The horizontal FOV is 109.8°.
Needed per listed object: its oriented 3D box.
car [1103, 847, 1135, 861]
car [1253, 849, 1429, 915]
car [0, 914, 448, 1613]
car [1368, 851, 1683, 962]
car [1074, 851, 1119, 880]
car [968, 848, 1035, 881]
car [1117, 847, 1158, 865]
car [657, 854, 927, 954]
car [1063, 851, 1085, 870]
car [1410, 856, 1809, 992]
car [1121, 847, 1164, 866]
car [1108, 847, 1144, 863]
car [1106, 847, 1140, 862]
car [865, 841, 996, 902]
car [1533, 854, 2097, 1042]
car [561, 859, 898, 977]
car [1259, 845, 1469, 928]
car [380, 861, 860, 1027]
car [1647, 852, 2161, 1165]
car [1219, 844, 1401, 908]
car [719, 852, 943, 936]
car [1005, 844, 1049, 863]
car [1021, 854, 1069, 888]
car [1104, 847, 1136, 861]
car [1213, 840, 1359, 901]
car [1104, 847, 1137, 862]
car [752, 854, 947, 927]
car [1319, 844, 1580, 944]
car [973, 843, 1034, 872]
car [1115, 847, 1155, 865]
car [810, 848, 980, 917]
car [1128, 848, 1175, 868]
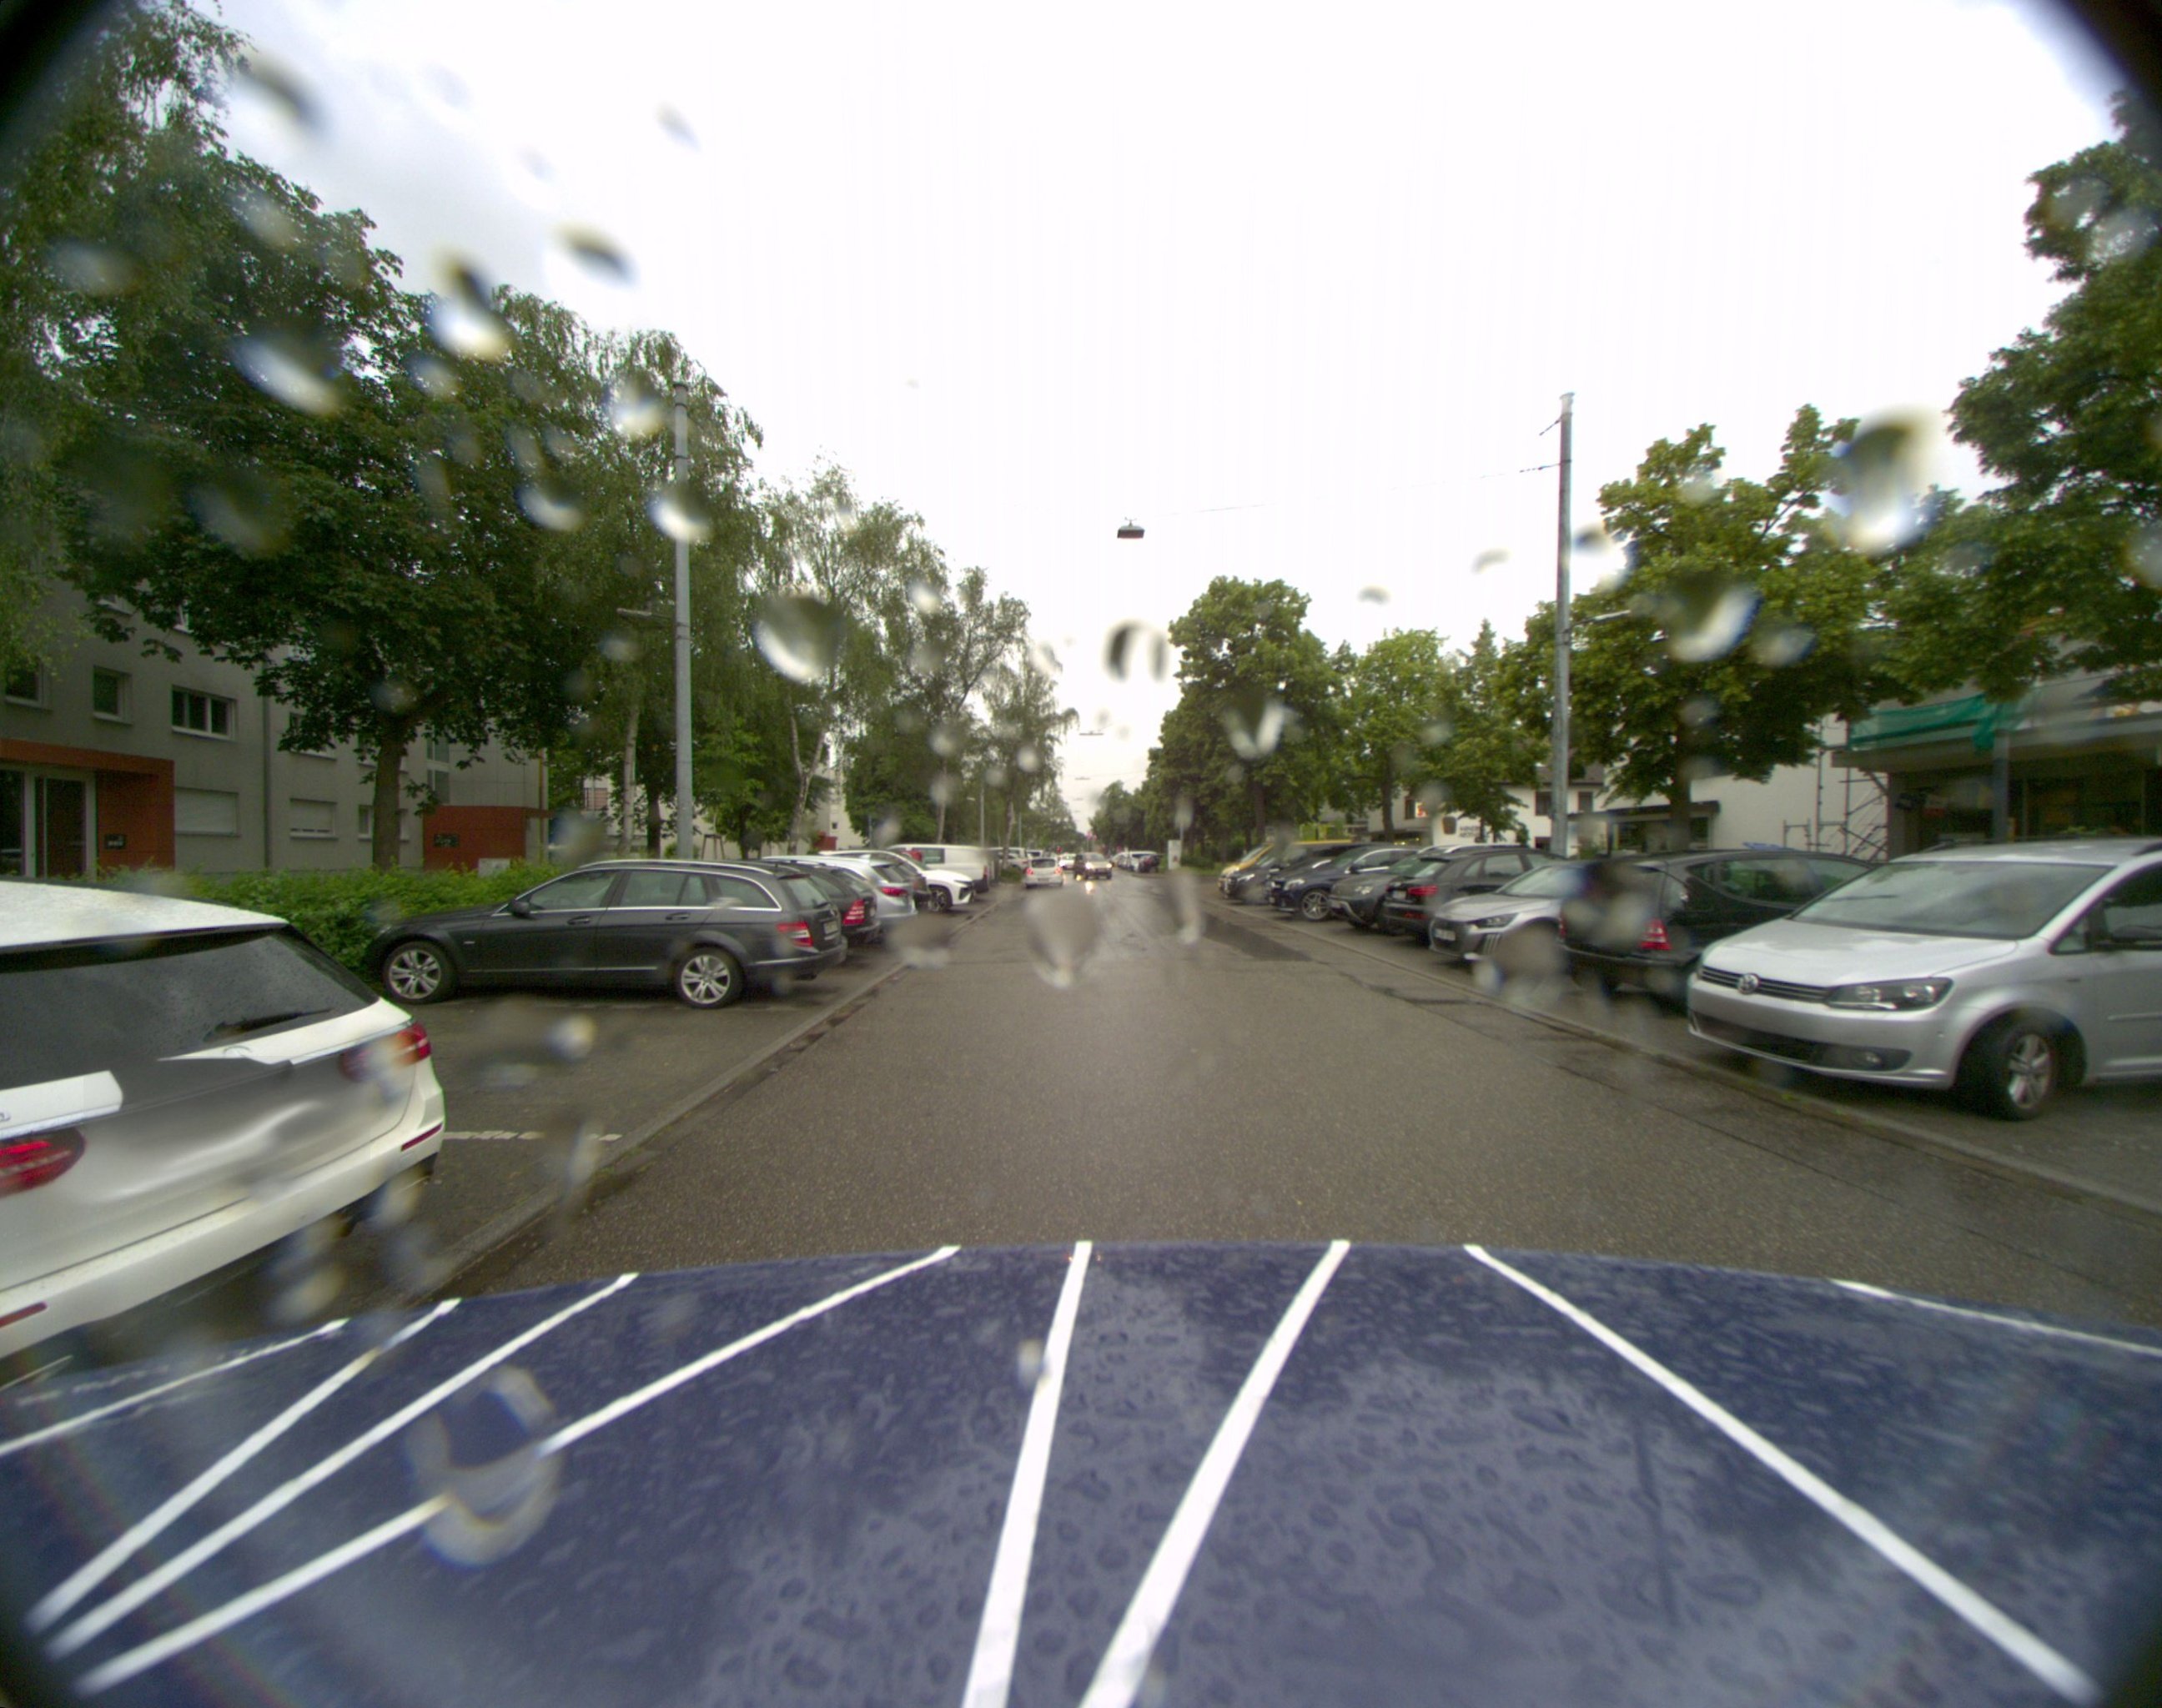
[{"bbox_3d":[4.954,0.022,99.179,3.998,1.675,1.999,-2,1,-3],"label":"car"},{"bbox_3d":[7.130,0.736,21.095,4.283,1.617,1.715,-2,1,-2],"label":"car"},{"bbox_3d":[-4.749,0.930,2.065,4.623,1.431,1.680,2,1,0],"label":"car"},{"bbox_3d":[7.265,0.811,12.685,4.283,1.586,1.715,-2,1,-2],"label":"car"},{"bbox_3d":[0.929,0.670,47.445,1.841,1.677,3.995,-2,1,-13],"label":"car"},{"bbox_3d":[-5.119,0.669,49.316,3.995,1.902,1.902,-2,1,4],"label":"car"},{"bbox_3d":[5.839,0.235,78.576,3.998,1.675,1.999,-2,1,-3],"label":"car"},{"bbox_3d":[-4.881,0.819,13.263,4.049,1.488,1.680,2,1,-3],"label":"car"},{"bbox_3d":[-0.606,0.542,64.656,1.733,1.519,4.138,0,1,-2],"label":"car"},{"bbox_3d":[6.981,0.865,10.320,4.283,1.523,1.715,-2,1,-2],"label":"car"},{"bbox_3d":[6.132,0.256,76.066,3.998,1.675,1.999,-2,1,-3],"label":"car"},{"bbox_3d":[5.321,0.123,90.317,3.998,1.675,1.999,-2,1,-3],"label":"car"},{"bbox_3d":[5.203,0.074,94.424,3.998,1.675,1.999,-2,1,-3],"label":"car"},{"bbox_3d":[-5.097,0.580,26.191,4.182,1.856,1.679,3,1,-6],"label":"car"},{"bbox_3d":[7.251,0.855,7.780,4.283,1.556,1.635,-2,1,-2],"label":"car"},{"bbox_3d":[-4.871,0.869,10.984,4.049,1.431,1.680,2,1,-3],"label":"car"},{"bbox_3d":[6.583,0.720,17.950,4.283,1.717,1.715,-2,1,-2],"label":"car"},{"bbox_3d":[-4.638,0.884,8.127,4.049,1.431,1.680,2,1,-3],"label":"car"},{"bbox_3d":[6.631,0.867,5.203,4.283,1.625,1.715,-2,1,-2],"label":"car"},{"bbox_3d":[7.111,0.646,23.865,5.177,1.789,1.715,-2,1,-2],"label":"car"},{"bbox_3d":[-5.012,0.793,15.648,4.049,1.488,1.680,2,1,-3],"label":"car"},{"bbox_3d":[-5.296,-0.082,75.039,3.995,1.670,1.902,-2,1,4],"label":"car"},{"bbox_3d":[-1.796,0.758,36.622,1.999,1.446,4.254,-2,1,-6],"label":"car"},{"bbox_3d":[5.188,0.009,101.621,3.998,1.675,1.999,-2,1,-3],"label":"car"},{"bbox_3d":[7.182,0.560,26.922,4.657,1.947,1.715,-2,1,-2],"label":"car"},{"bbox_3d":[5.012,0.049,96.945,3.998,1.675,1.999,-2,1,-3],"label":"car"},{"bbox_3d":[-5.320,0.821,17.862,4.049,1.488,1.680,2,1,-3],"label":"car"},{"bbox_3d":[7.081,0.725,14.860,4.283,1.717,1.715,-2,1,-2],"label":"car"},{"bbox_3d":[-5.508,0.225,54.185,3.995,1.902,1.902,-2,1,4],"label":"car"},{"bbox_3d":[5.709,0.206,81.178,3.998,1.675,1.999,-2,1,-3],"label":"car"},{"bbox_3d":[-5.033,0.748,20.904,4.179,1.609,1.680,3,1,1],"label":"car"},{"bbox_3d":[6.331,0.344,68.703,3.998,1.675,1.999,-2,1,-3],"label":"car"}]
